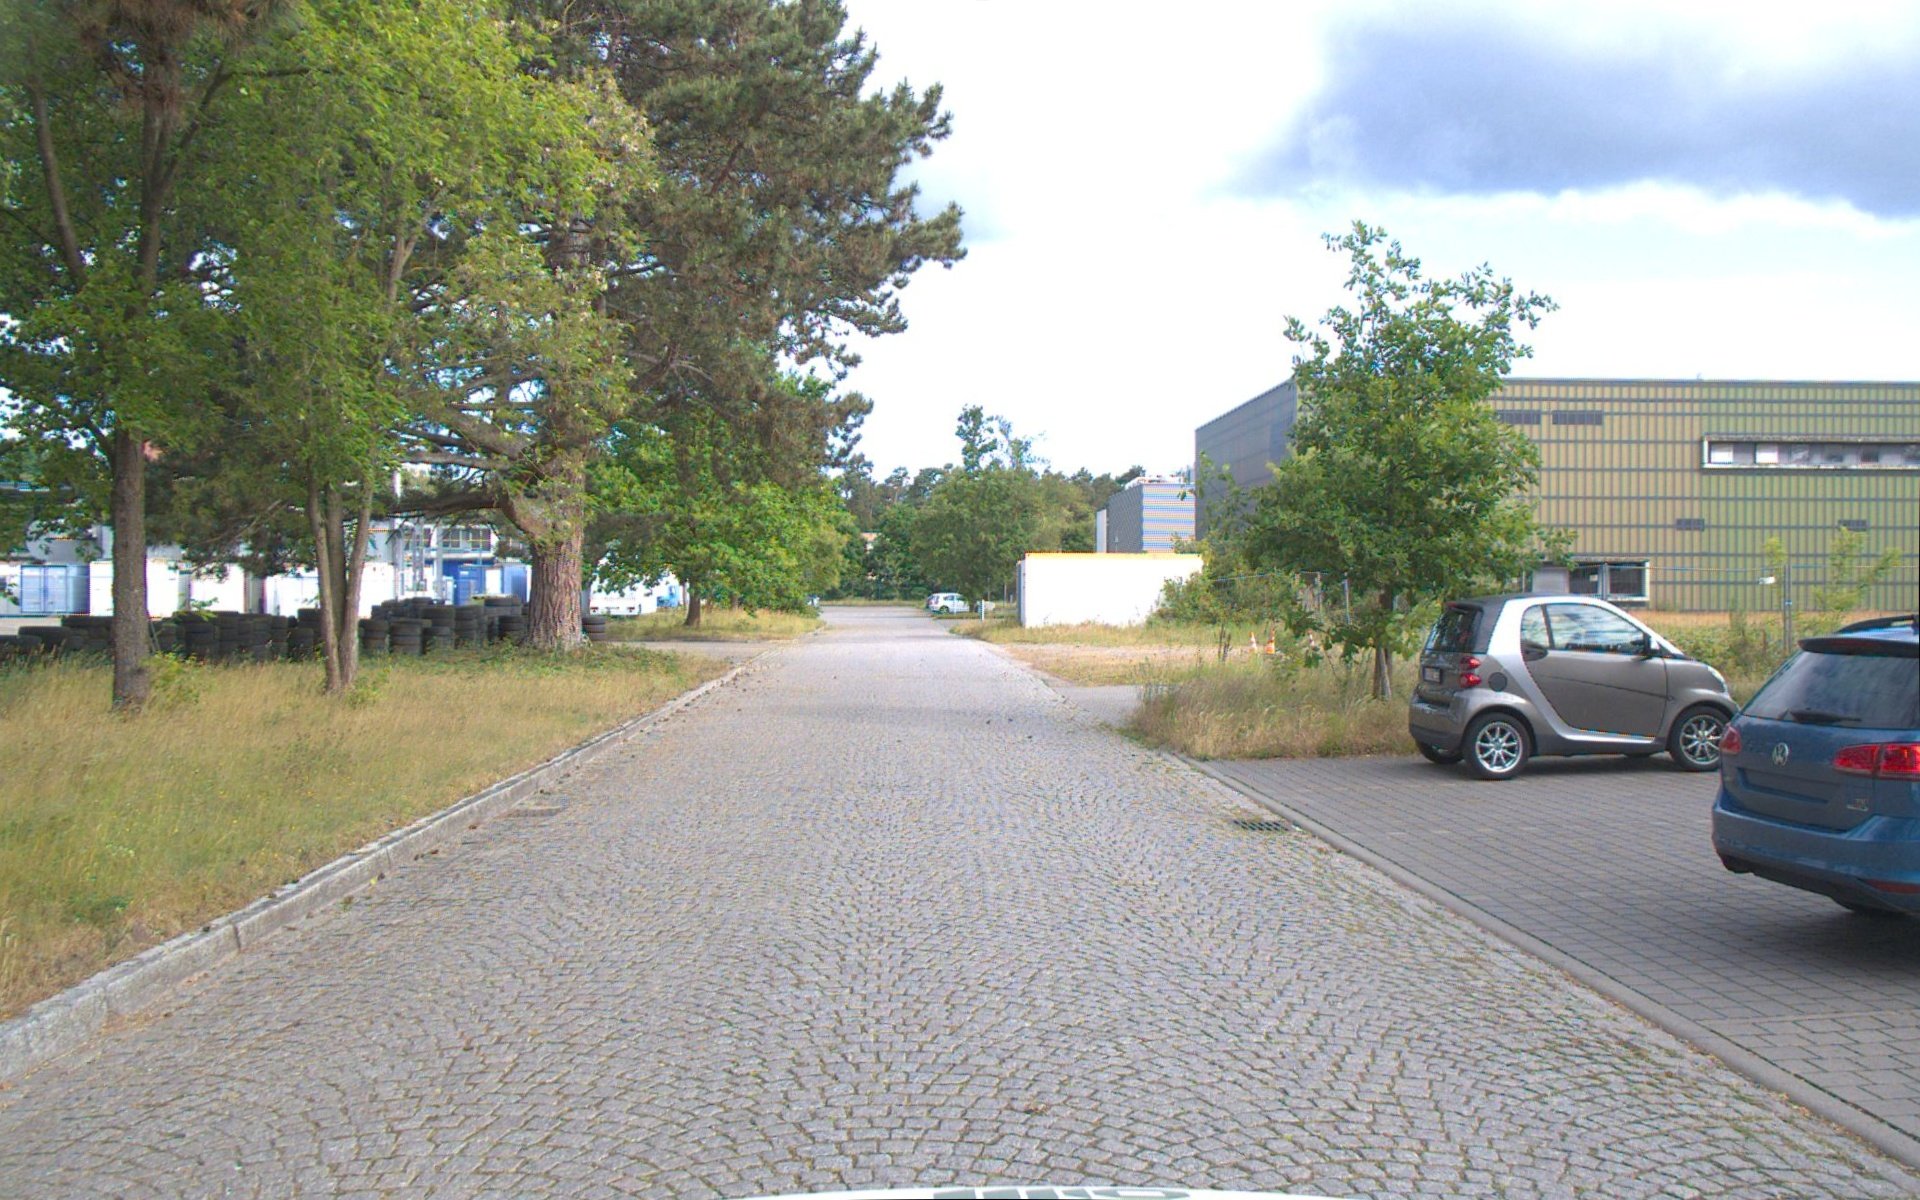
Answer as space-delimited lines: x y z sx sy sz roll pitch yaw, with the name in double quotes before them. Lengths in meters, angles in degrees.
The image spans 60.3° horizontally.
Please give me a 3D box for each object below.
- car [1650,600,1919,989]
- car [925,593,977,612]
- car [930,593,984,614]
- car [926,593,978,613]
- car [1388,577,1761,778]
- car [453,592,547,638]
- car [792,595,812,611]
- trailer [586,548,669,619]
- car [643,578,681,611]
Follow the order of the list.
"car" 5.830 0.713 7.682 4.437 1.475 1.930 -2 0 -5
"car" -0.704 0.182 127.275 3.907 1.481 1.769 0 0 -3
"car" -0.213 0.257 122.088 3.907 1.481 1.999 1 -1 -3
"car" -0.610 0.197 124.237 3.907 1.481 1.696 0 0 -3
"car" 5.473 0.650 14.956 2.686 1.609 1.682 -2 0 -3
"car" -15.395 0.475 55.615 1.786 1.457 4.220 0 0 3
"car" -13.885 0.249 145.340 1.715 1.388 3.996 0 0 -5
"trailer" -18.696 -0.906 93.616 2.602 3.770 10.720 0 0 0
"car" -23.969 -0.427 133.179 1.952 2.567 5.618 0 0 0
